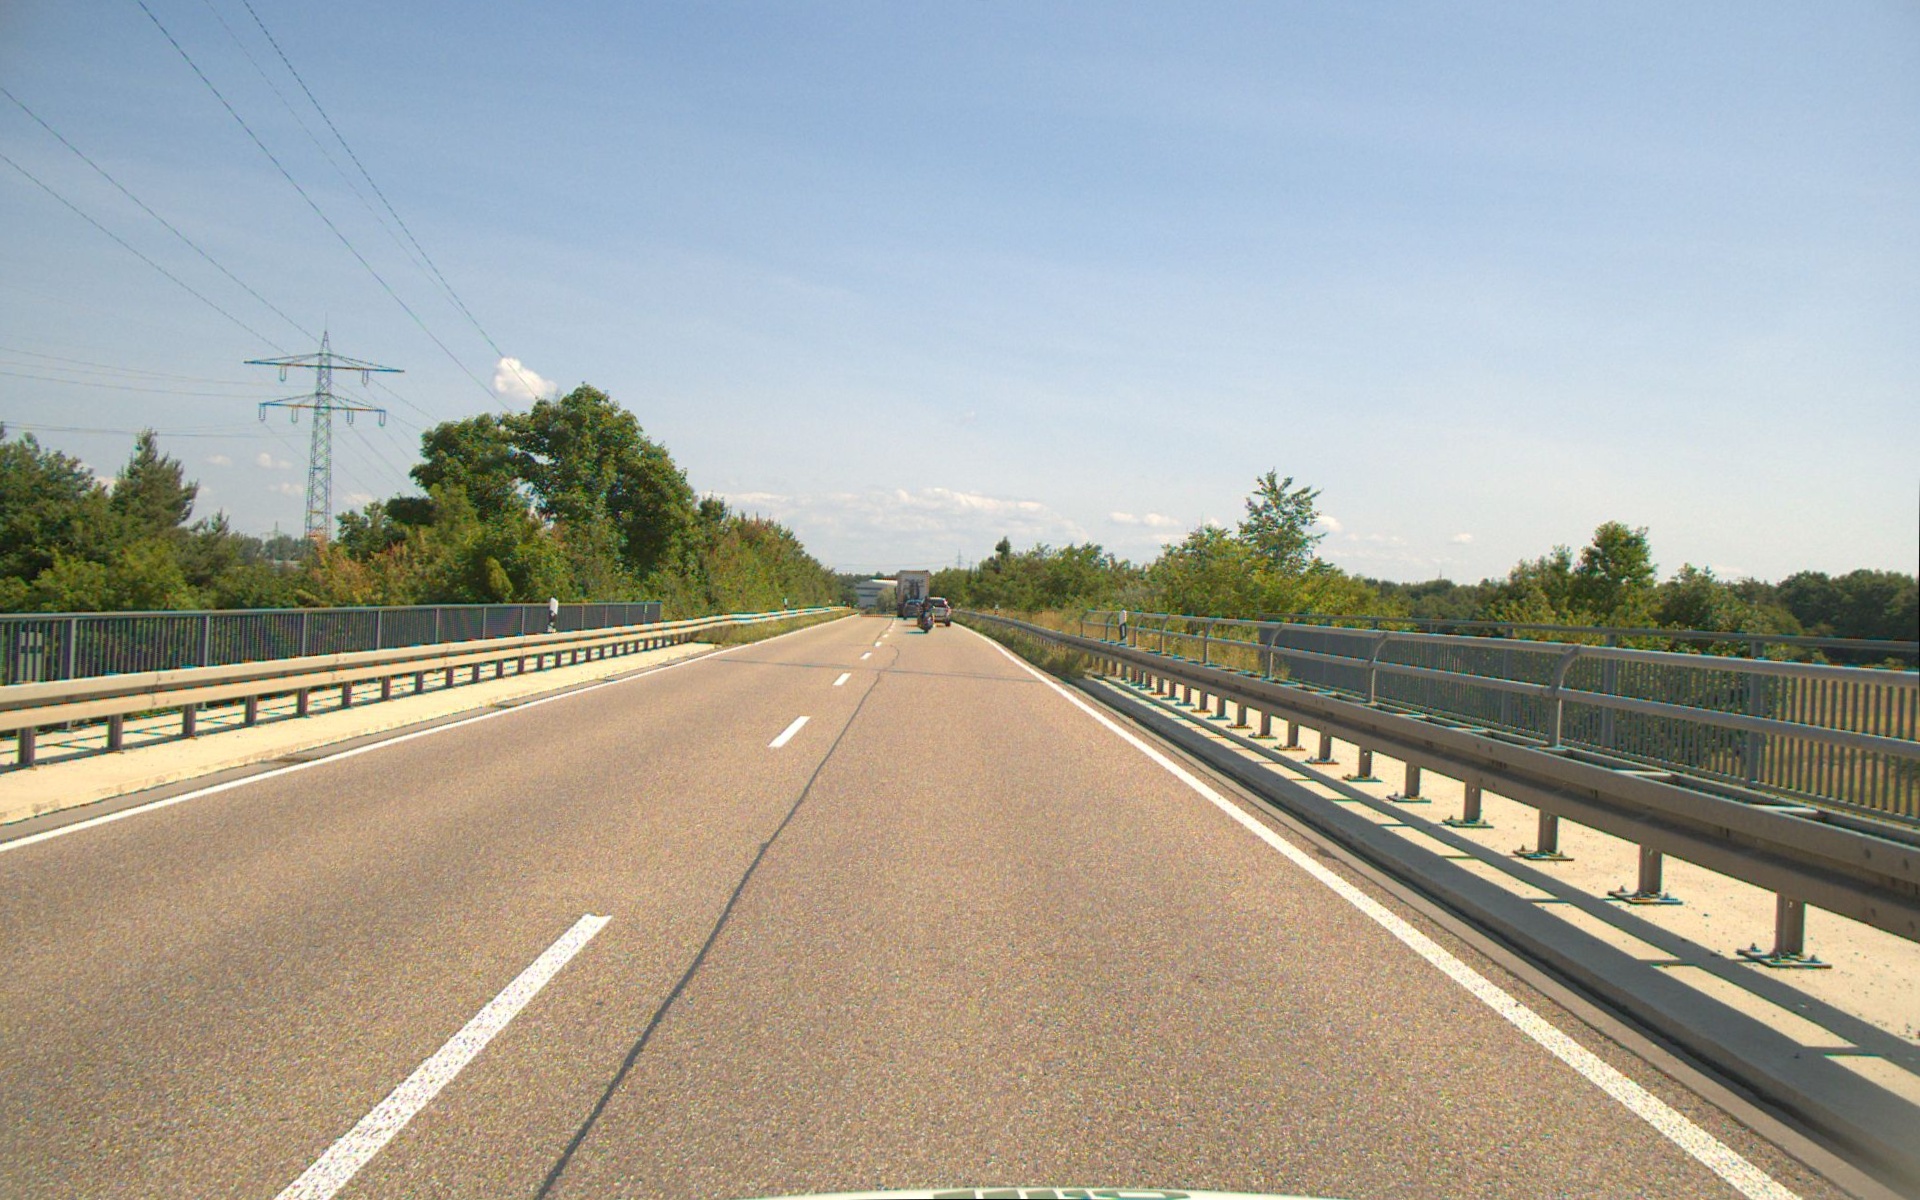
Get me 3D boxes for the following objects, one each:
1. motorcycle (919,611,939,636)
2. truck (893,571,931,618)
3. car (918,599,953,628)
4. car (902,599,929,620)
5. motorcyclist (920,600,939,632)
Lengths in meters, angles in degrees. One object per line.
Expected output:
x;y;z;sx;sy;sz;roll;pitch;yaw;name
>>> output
-1.305;0.999;70.732;0.764;0.992;2.362;1;1;1;motorcycle
-4.390;-0.517;149.121;3.177;4.048;9.438;1;0;-3;truck
-1.369;0.713;91.226;1.789;1.477;3.999;1;1;-2;car
-3.271;0.670;122.063;1.827;1.445;4.000;2;1;0;car
-1.288;0.688;70.750;0.764;1.349;0.813;1;0;1;motorcyclist
